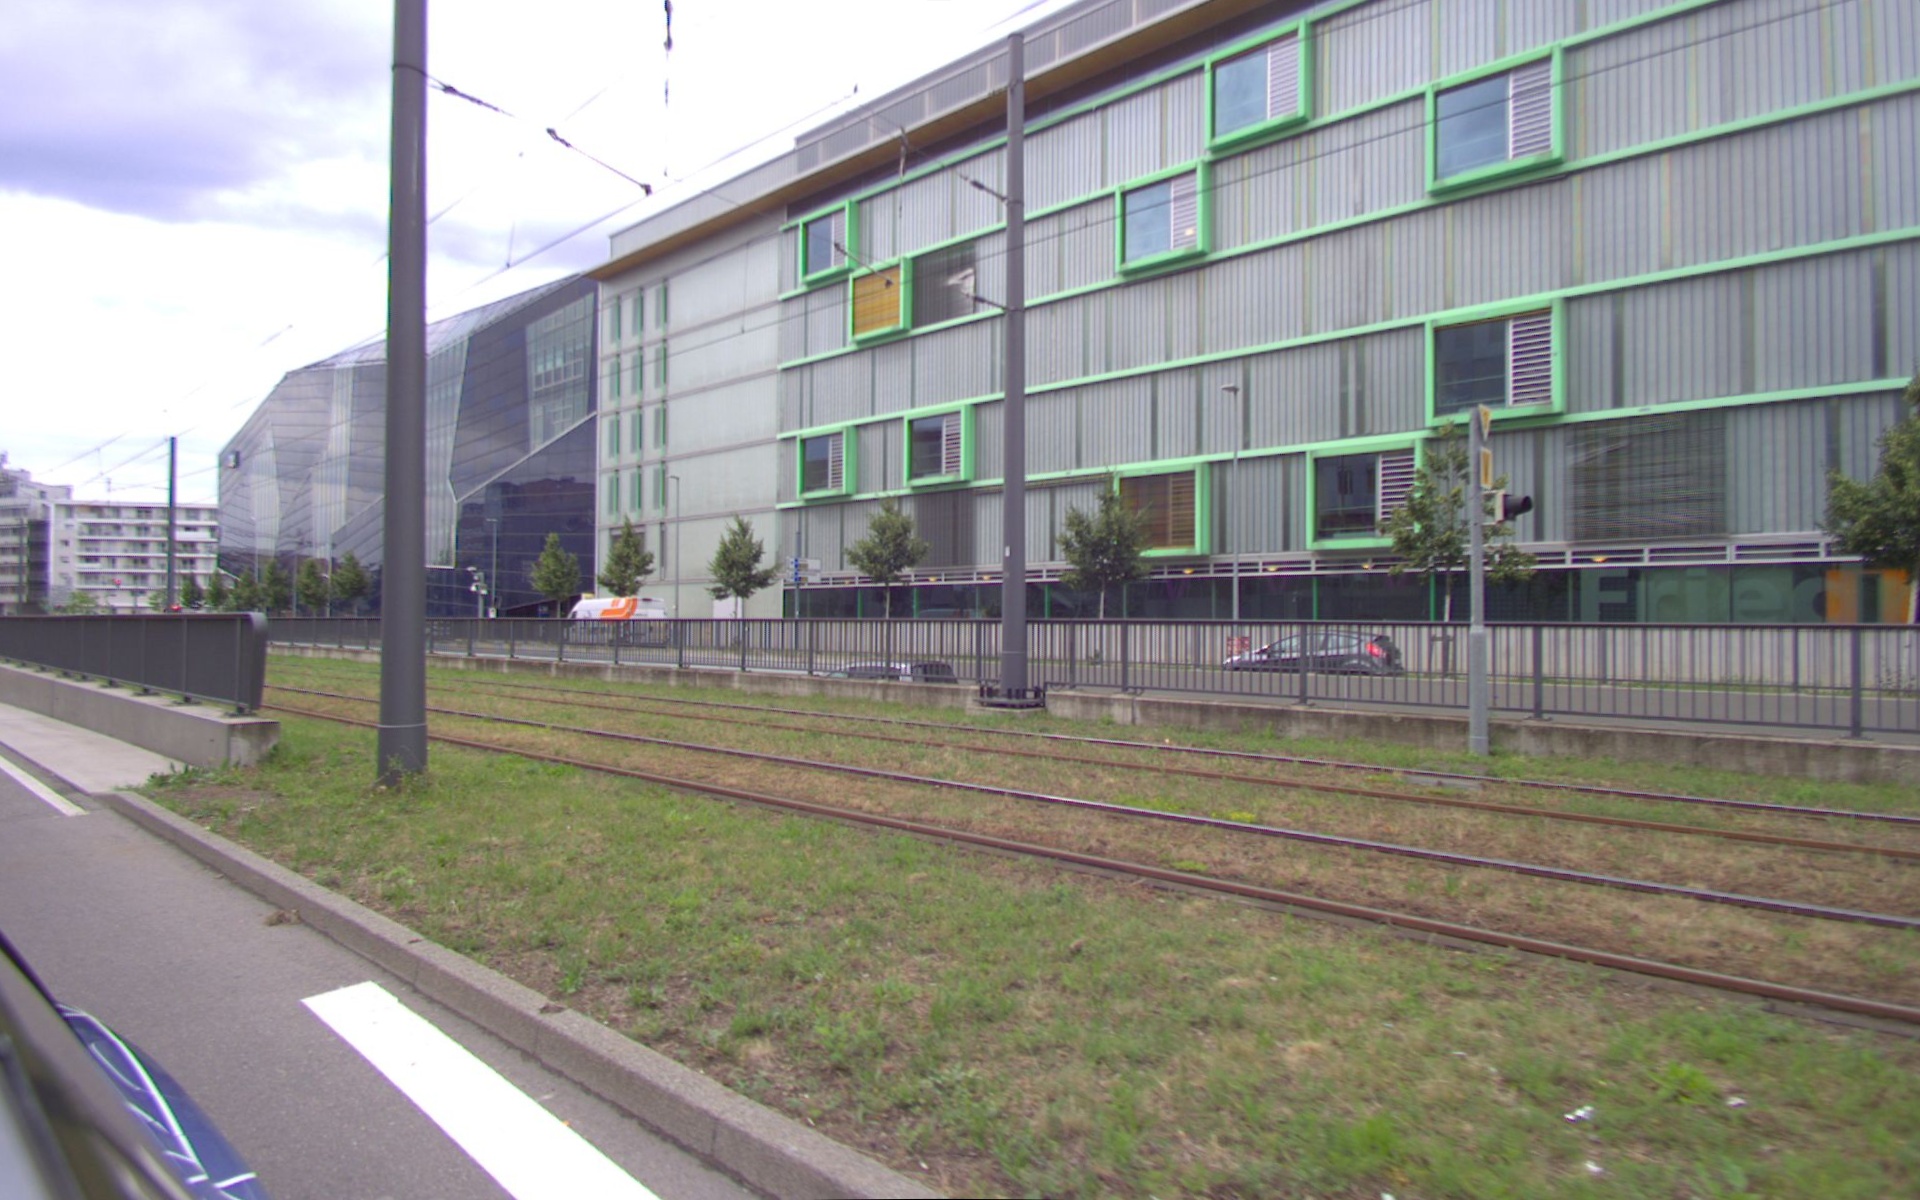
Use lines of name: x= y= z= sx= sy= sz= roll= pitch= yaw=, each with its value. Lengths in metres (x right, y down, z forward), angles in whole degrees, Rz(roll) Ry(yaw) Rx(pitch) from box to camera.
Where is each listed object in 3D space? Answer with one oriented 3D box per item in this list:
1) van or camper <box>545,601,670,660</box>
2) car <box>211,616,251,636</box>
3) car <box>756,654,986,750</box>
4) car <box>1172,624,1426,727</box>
van or camper: x=-15.107 y=1.280 z=43.163 sx=6.504 sy=2.304 sz=2.150 roll=-2 pitch=-1 yaw=42
car: x=-63.571 y=2.288 z=88.265 sx=4.766 sy=1.605 sz=1.971 roll=-4 pitch=-3 yaw=43
car: x=-2.020 y=2.227 z=21.920 sx=4.967 sy=1.776 sz=1.973 roll=-6 pitch=-4 yaw=40
car: x=7.577 y=1.756 z=22.920 sx=4.965 sy=2.029 sz=1.974 roll=-6 pitch=-4 yaw=39
